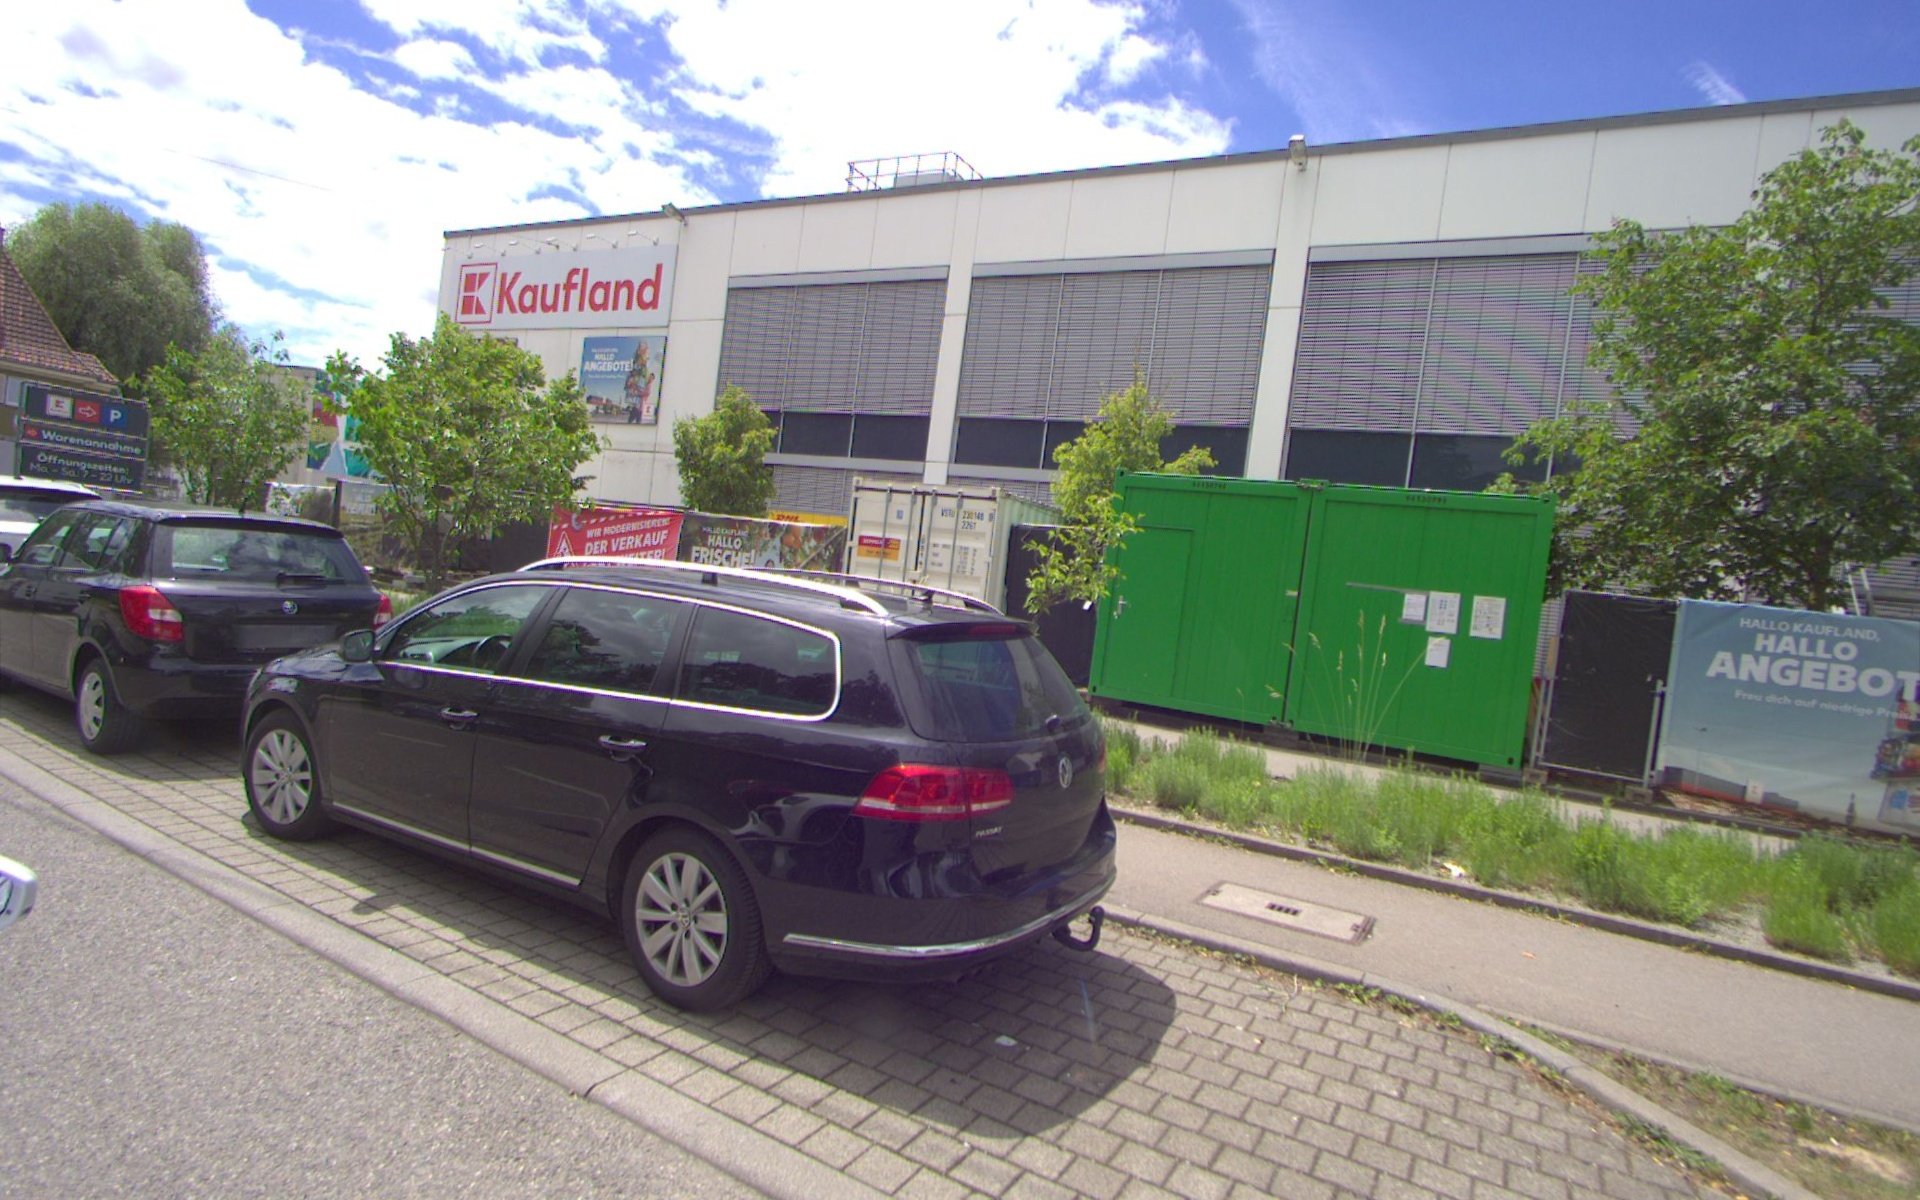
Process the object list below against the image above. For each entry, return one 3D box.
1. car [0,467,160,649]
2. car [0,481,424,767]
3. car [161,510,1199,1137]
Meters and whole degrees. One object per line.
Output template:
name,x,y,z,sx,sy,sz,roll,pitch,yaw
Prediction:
car,-10.289,-0.566,10.451,4.314,1.638,1.737,6,3,32
car,-5.790,0.021,7.268,3.934,1.512,1.569,7,2,32
car,-1.570,0.532,4.744,4.852,1.497,1.765,6,3,30
